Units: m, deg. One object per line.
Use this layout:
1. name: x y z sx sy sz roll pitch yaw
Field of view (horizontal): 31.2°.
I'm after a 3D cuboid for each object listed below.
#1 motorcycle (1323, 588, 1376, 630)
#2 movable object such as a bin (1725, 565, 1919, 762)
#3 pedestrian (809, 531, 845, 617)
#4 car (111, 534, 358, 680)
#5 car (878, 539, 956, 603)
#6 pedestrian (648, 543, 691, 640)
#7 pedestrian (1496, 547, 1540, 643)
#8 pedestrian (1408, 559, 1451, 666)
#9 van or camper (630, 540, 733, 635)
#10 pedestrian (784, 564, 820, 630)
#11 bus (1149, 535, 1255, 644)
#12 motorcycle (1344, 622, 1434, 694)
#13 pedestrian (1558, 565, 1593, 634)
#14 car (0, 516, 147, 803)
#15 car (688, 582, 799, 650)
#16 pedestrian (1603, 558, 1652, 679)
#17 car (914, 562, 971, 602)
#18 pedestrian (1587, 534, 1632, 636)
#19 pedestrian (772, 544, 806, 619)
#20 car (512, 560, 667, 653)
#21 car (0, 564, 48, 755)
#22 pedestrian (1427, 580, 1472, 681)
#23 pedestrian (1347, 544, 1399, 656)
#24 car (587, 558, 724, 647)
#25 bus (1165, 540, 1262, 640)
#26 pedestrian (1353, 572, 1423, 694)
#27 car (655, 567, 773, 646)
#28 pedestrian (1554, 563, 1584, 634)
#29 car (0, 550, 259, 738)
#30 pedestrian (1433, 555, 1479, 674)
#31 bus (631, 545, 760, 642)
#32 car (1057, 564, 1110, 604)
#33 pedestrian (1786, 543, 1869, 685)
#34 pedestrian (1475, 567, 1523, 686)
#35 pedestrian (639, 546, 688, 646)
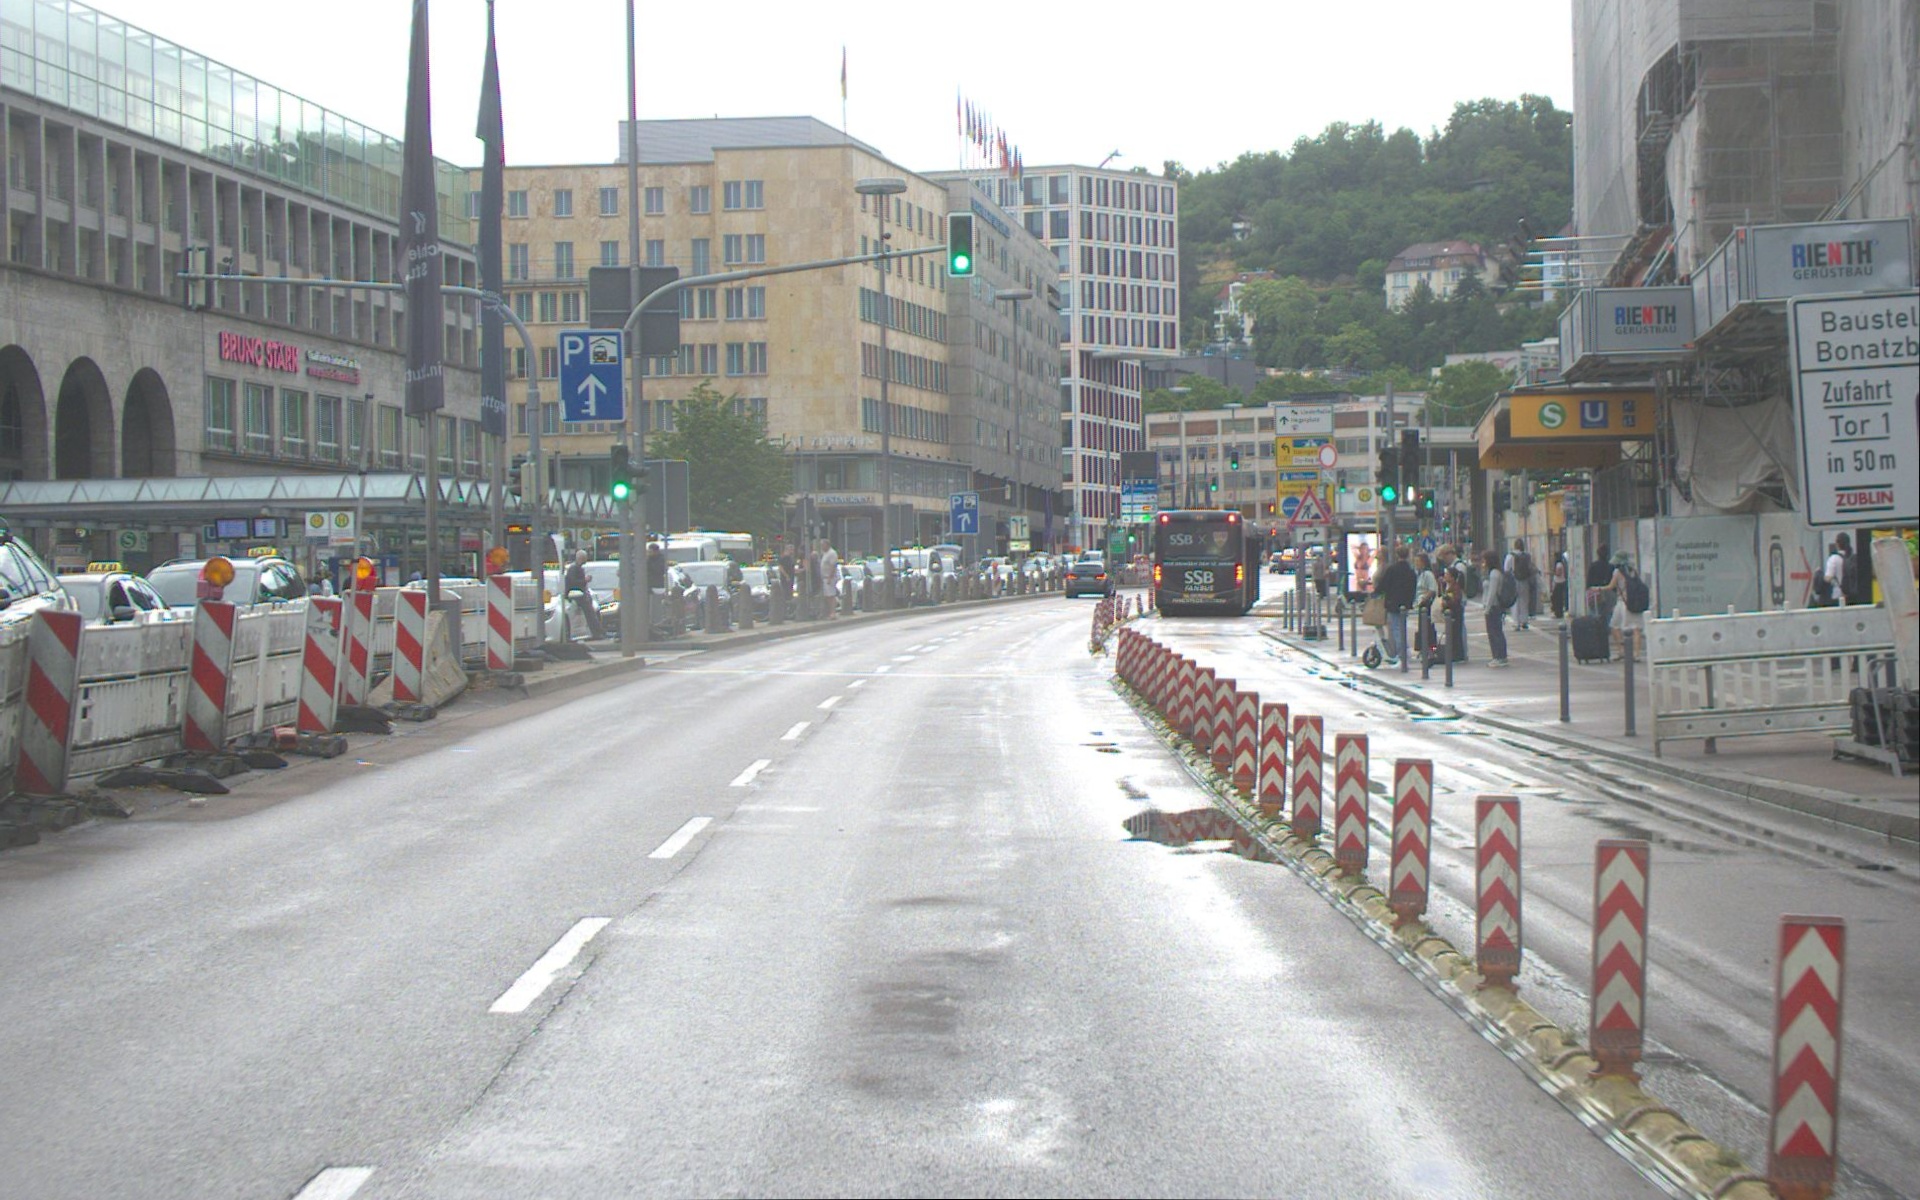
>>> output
1. motorcycle: 10.879 0.257 95.919 1.613 1.162 0.586 1 0 -45
2. movable object such as a bin: 6.927 0.481 26.998 1.301 1.487 1.531 -1 0 34
3. pedestrian: -3.130 -0.604 80.855 0.723 2.001 0.772 1 0 6
4. car: -8.986 0.049 42.953 1.903 1.694 4.499 1 1 3
5. car: -1.471 -1.005 120.781 1.994 2.171 5.542 -1 0 7
6. pedestrian: -5.180 -0.151 61.364 0.651 1.706 0.593 1 1 4
7. pedestrian: 10.993 -0.103 67.742 0.723 1.841 0.810 -3 0 6
8. pedestrian: 7.310 0.189 53.511 0.558 1.635 0.752 -3 0 7
9. van or camper: -7.820 -0.362 97.039 1.994 2.506 5.369 -3 0 4
10. pedestrian: -3.880 -0.078 84.590 0.723 1.601 0.996 1 1 6
11. bus: 7.246 -0.302 101.885 2.756 3.058 9.077 1 0 6
12. motorcycle: 6.179 0.831 49.562 0.584 1.018 1.239 -1 0 -37
13. pedestrian: 14.048 -0.025 78.455 0.651 1.534 0.665 -3 0 7
14. car: -7.020 0.379 22.474 1.994 1.811 4.810 -1 1 3
15. car: -5.354 0.384 85.563 1.930 1.571 5.260 -2 0 5
16. pedestrian: 9.263 0.257 47.733 0.564 1.645 0.614 -3 0 10
17. car: -0.686 -0.714 139.048 1.994 1.547 3.999 -1 0 4
18. pedestrian: 10.629 -0.250 56.273 0.549 1.627 0.995 -3 0 6
19. pedestrian: -4.014 -0.443 80.753 0.698 1.749 0.711 0 0 6
20. car: -6.719 0.090 62.834 2.015 1.615 4.842 -1 1 3
21. car: -9.630 0.576 30.232 1.784 1.716 4.482 -1 1 3
22. pedestrian: 7.194 0.444 50.515 0.558 1.444 0.711 -3 0 7
23. pedestrian: 6.572 -0.002 54.783 0.558 1.753 0.752 -3 0 -8
24. car: -6.180 0.057 70.259 1.930 1.685 4.681 -2 0 5
25. bus: 8.227 -0.317 110.888 2.756 3.055 8.990 1 0 6
26. pedestrian: 6.167 0.475 49.573 0.580 1.735 0.822 -1 0 -37
27. car: -5.621 0.152 78.976 1.930 1.685 4.681 -2 0 5
28. pedestrian: 16.268 -0.040 91.846 0.645 1.841 0.658 -3 0 6
29. car: -9.176 0.416 37.458 1.903 1.891 4.523 1 1 3
30. pedestrian: 7.459 0.218 51.715 0.558 1.746 0.711 -3 0 7
31. bus: -9.740 -0.270 127.910 2.878 3.448 10.572 0 0 6
32. car: 4.946 -0.622 138.259 1.993 1.547 4.000 -1 0 1
33. pedestrian: 10.558 0.170 41.871 0.736 1.672 0.957 -3 0 5
34. pedestrian: 7.622 0.364 48.657 0.558 1.645 0.614 -3 0 7
35. pedestrian: -5.376 -0.078 62.314 0.781 1.769 0.606 -3 0 -6
